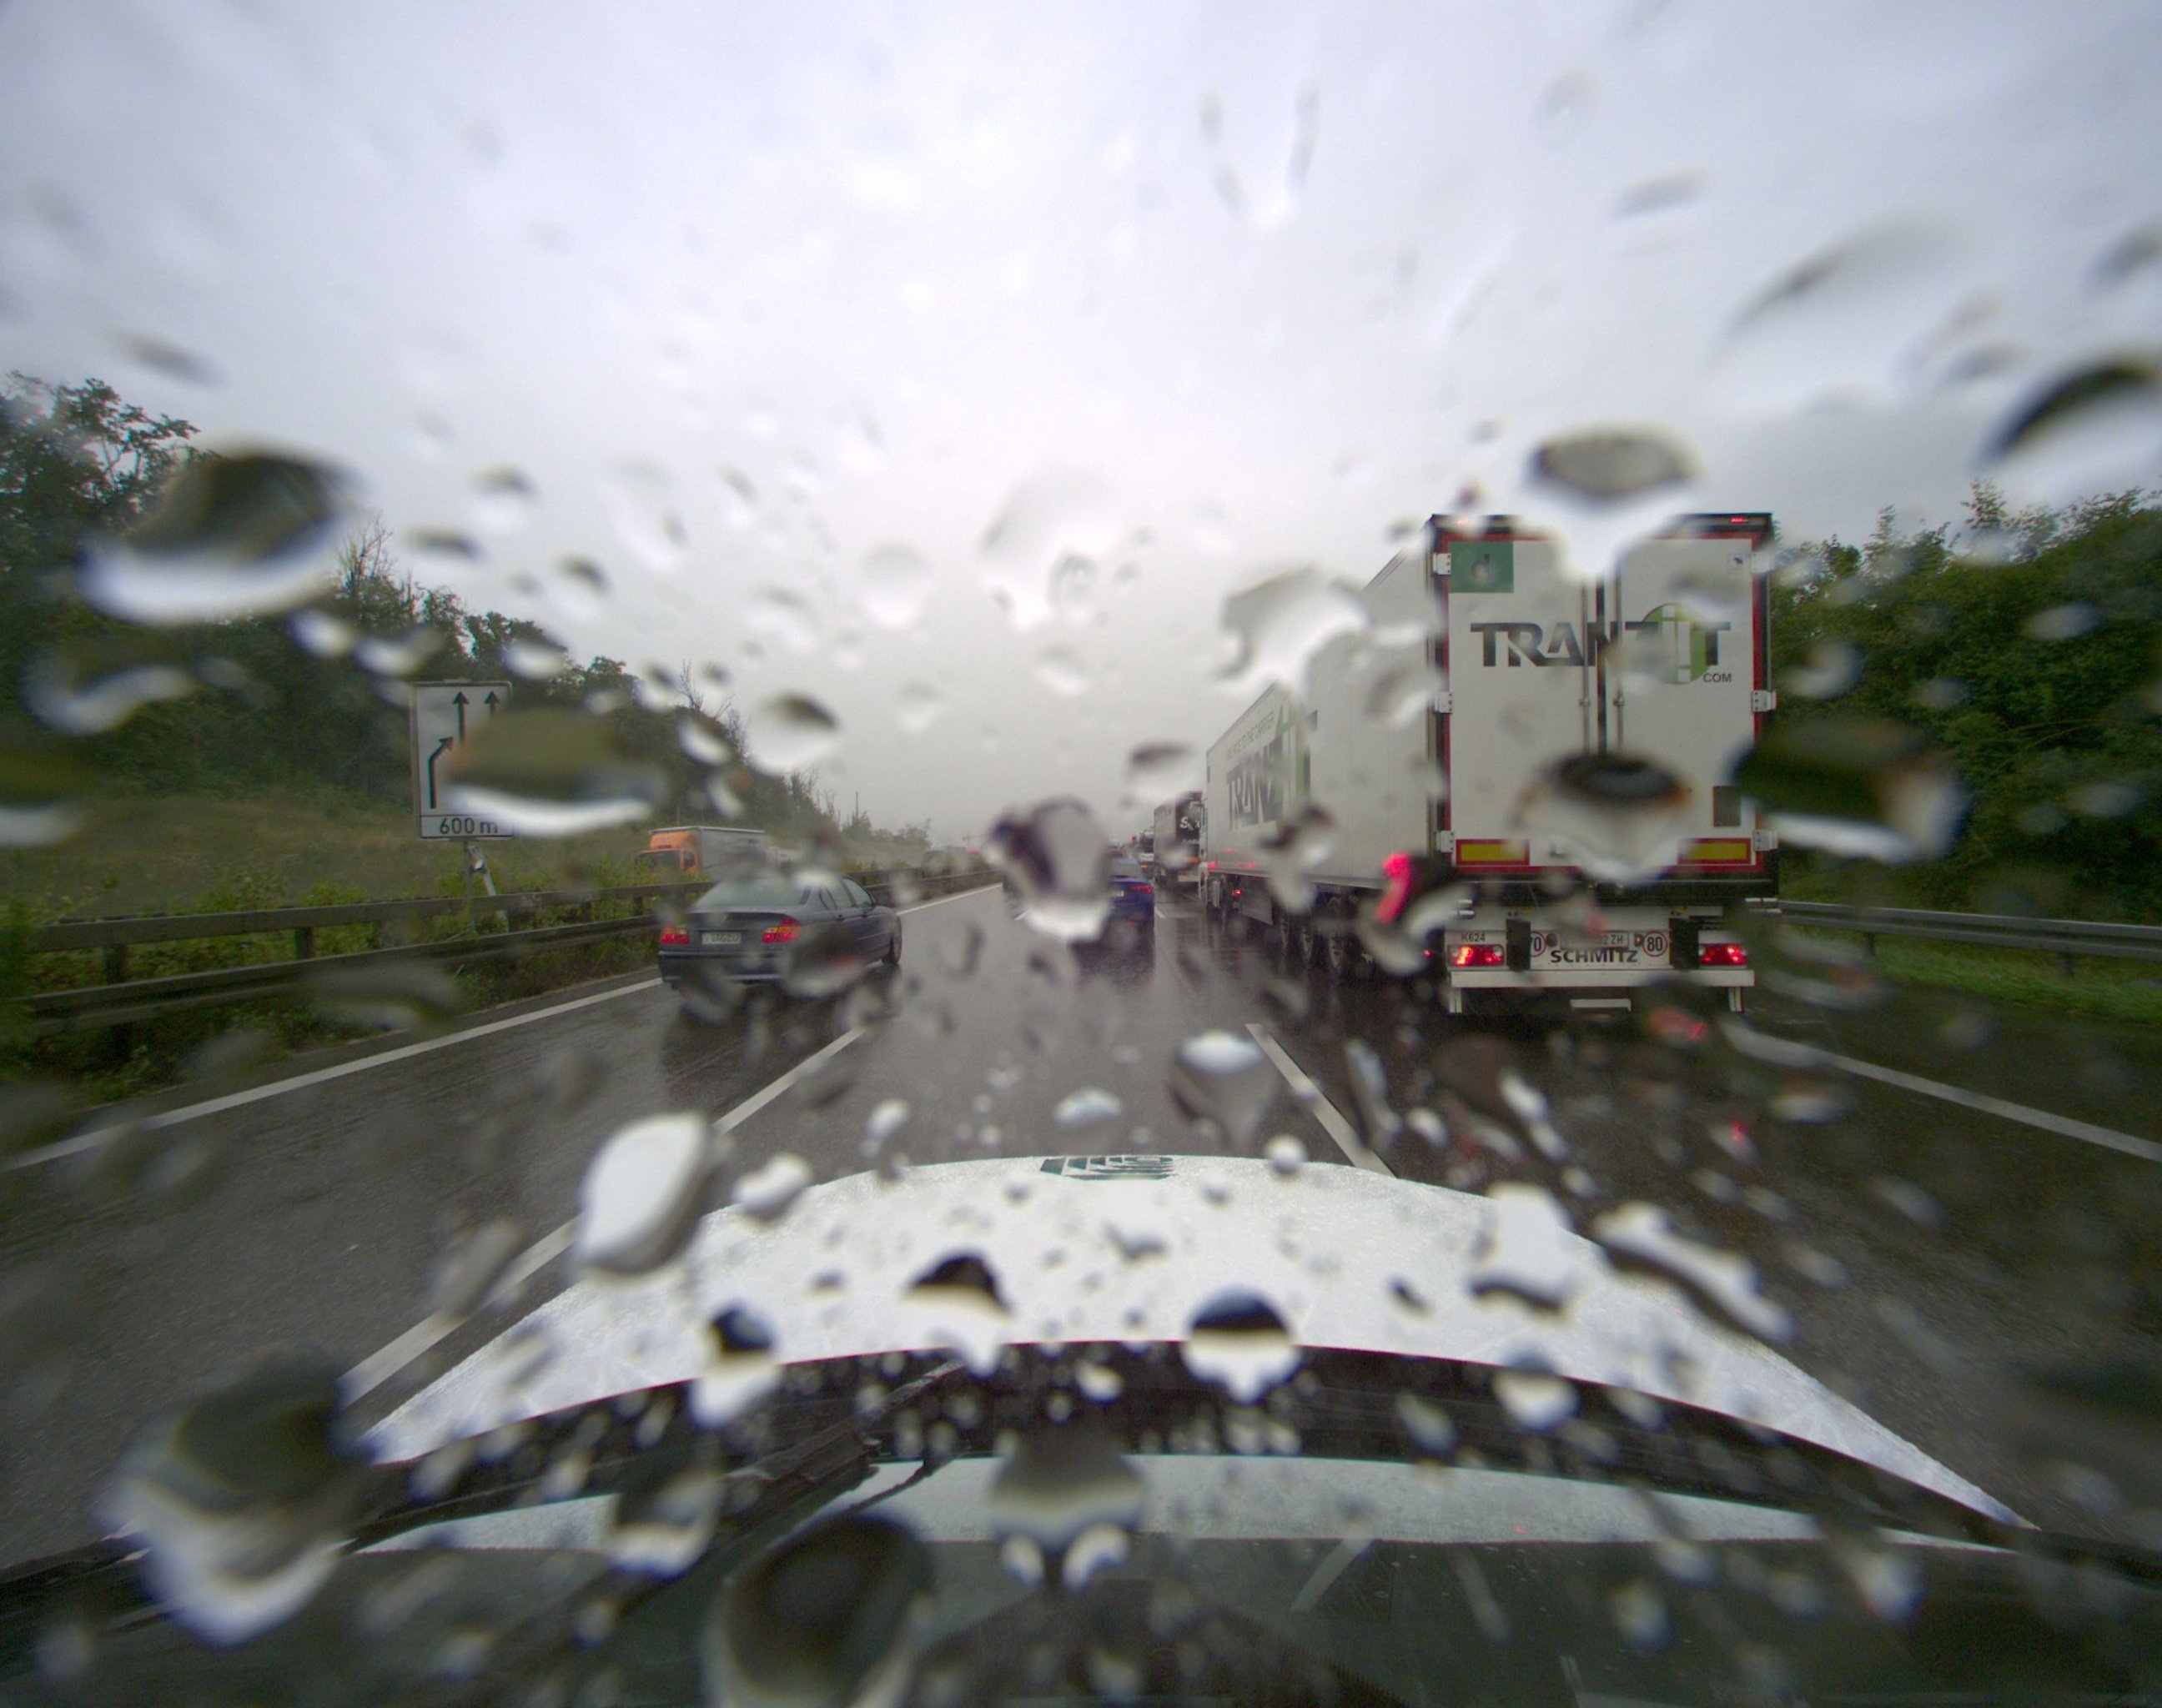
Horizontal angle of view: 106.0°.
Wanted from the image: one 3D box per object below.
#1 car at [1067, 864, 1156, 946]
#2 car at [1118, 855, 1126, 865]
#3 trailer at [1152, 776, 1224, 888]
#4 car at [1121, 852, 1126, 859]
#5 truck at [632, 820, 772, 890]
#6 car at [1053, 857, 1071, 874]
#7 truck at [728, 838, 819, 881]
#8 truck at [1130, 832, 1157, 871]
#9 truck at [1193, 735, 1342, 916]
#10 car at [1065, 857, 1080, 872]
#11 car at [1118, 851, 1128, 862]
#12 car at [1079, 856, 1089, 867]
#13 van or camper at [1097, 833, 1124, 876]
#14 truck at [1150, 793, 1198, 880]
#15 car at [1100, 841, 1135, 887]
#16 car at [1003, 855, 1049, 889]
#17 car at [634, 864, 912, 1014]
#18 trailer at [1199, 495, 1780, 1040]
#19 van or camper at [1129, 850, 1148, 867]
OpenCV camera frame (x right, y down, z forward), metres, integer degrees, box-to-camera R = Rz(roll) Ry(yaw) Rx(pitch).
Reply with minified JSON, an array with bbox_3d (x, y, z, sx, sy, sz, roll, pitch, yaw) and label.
[{"bbox_3d":[0.658,0.977,17.174,1.629,1.445,4.003,-1,0,3],"label":"car"},{"bbox_3d":[6.988,1.007,139.273,1.244,1.512,3.109,-2,1,2],"label":"car"},{"bbox_3d":[4.546,-0.864,36.535,2.039,4.176,11.453,-1,0,2],"label":"trailer"},{"bbox_3d":[11.393,0.454,218.808,1.443,1.784,3.411,-1,0,2],"label":"car"},{"bbox_3d":[-19.684,-0.007,43.132,2.915,3.281,9.256,-1,1,1],"label":"truck"},{"bbox_3d":[-1.662,1.002,72.672,1.434,1.420,3.323,-1,0,2],"label":"car"},{"bbox_3d":[-19.342,0.345,51.765,2.642,2.480,7.893,-1,0,1],"label":"truck"},{"bbox_3d":[5.715,-0.259,75.300,1.987,3.421,8.033,-1,1,1],"label":"truck"},{"bbox_3d":[4.329,-0.614,19.865,2.620,3.827,4.793,-1,0,2],"label":"truck"},{"bbox_3d":[-0.916,1.140,89.845,1.434,1.533,3.323,-1,0,2],"label":"car"},{"bbox_3d":[6.549,0.391,126.980,1.443,1.784,3.411,-1,0,2],"label":"car"},{"bbox_3d":[0.507,1.205,132.984,1.443,1.784,3.411,-1,0,2],"label":"car"},{"bbox_3d":[2.061,0.027,56.984,1.790,2.806,4.770,-1,0,2],"label":"van or camper"},{"bbox_3d":[4.742,-0.863,41.975,2.039,4.193,4.002,-1,0,2],"label":"truck"},{"bbox_3d":[1.484,0.385,33.254,1.331,1.780,3.323,-1,0,2],"label":"car"},{"bbox_3d":[-2.601,0.843,39.450,1.714,1.523,4.003,-1,0,3],"label":"car"},{"bbox_3d":[-3.494,0.870,10.181,1.711,1.400,4.232,-1,0,2],"label":"car"},{"bbox_3d":[4.101,-0.677,13.386,2.620,4.013,14.636,-1,0,2],"label":"trailer"},{"bbox_3d":[5.990,0.436,84.861,1.765,1.625,4.486,-1,1,2],"label":"van or camper"}]
